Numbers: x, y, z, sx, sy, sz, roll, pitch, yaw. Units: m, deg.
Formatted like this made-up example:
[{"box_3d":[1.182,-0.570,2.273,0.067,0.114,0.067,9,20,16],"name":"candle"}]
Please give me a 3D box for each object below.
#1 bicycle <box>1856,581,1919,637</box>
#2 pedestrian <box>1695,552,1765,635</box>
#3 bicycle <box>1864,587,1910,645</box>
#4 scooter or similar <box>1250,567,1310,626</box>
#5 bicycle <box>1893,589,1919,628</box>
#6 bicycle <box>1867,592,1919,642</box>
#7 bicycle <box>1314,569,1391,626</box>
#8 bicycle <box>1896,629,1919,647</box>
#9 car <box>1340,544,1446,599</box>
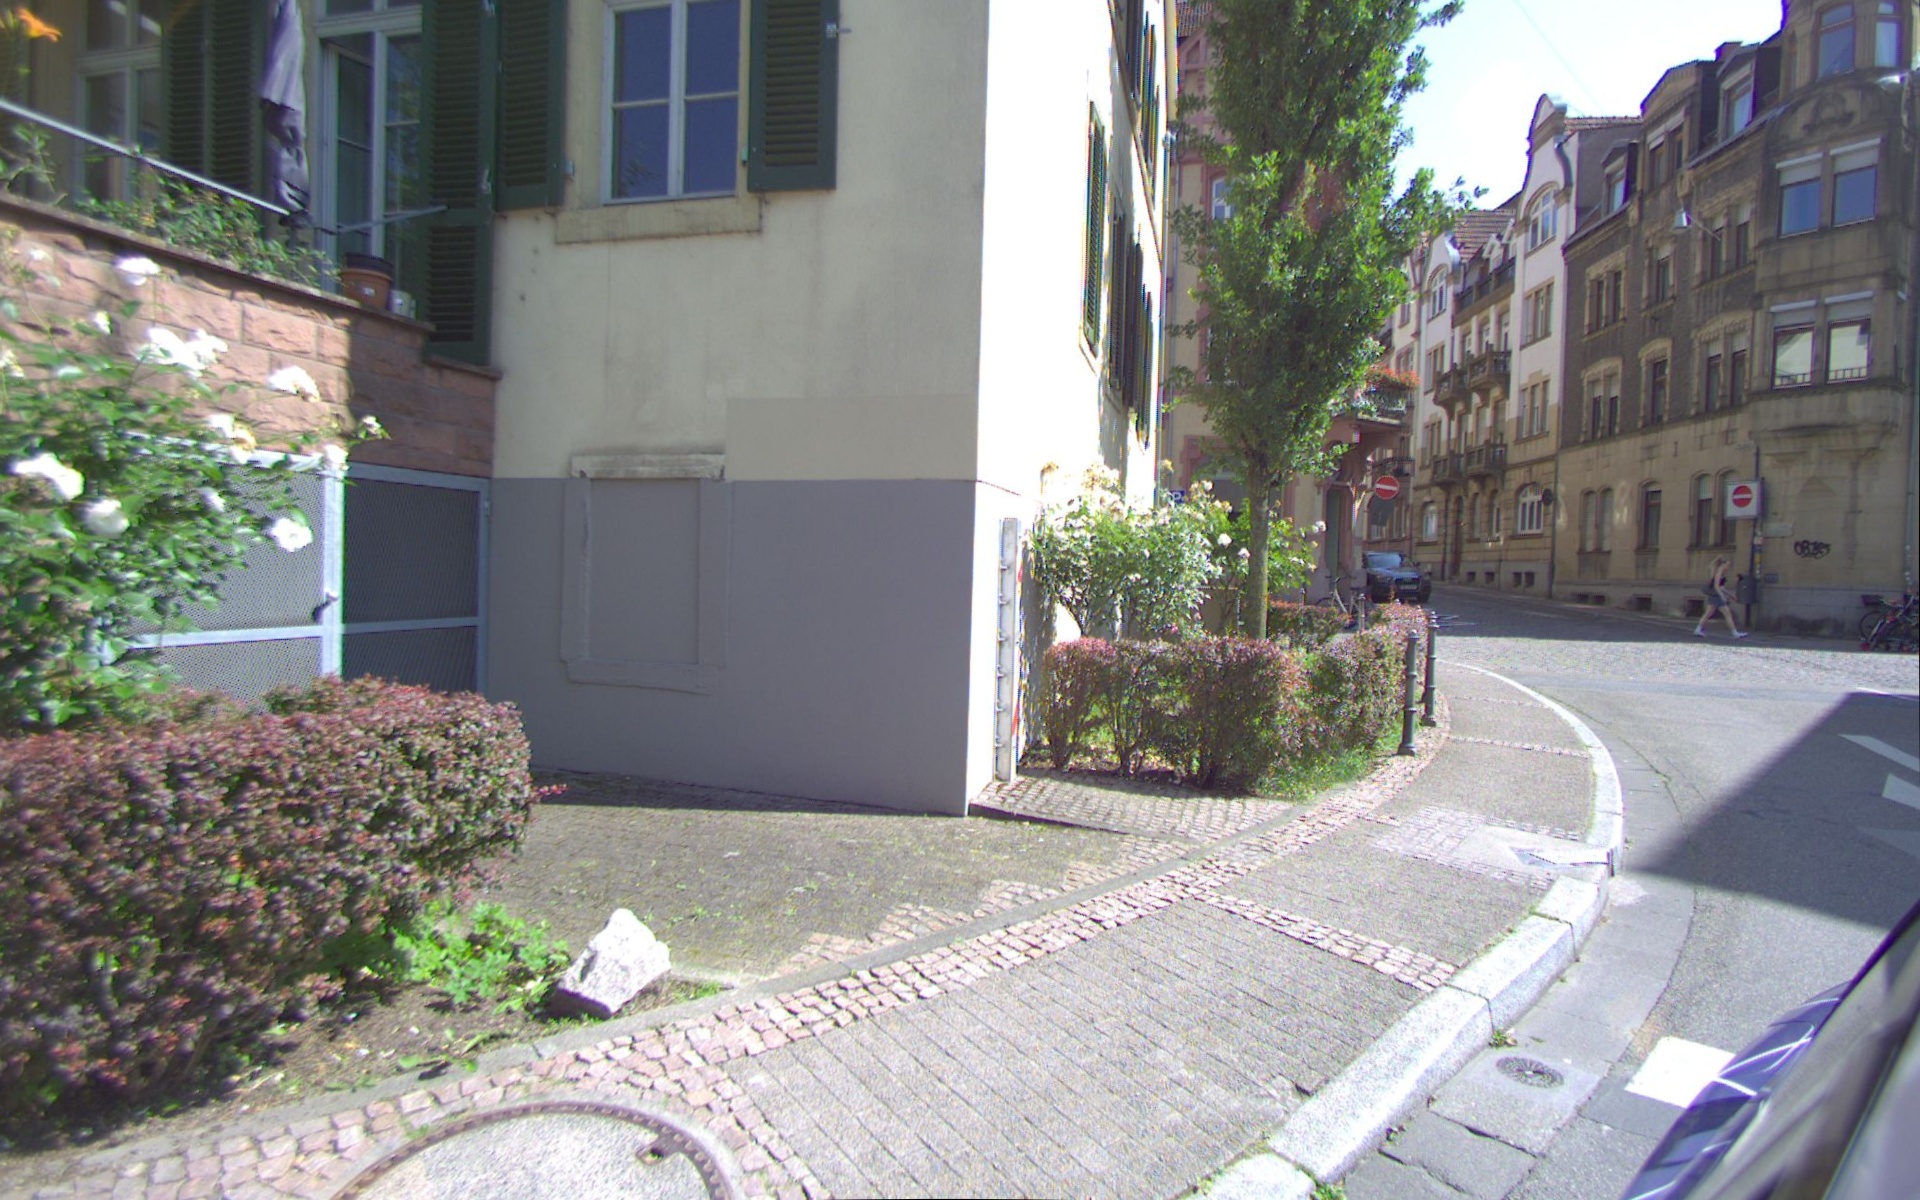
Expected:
[{"box_3d":[20.425,0.204,21.736,1.619,1.098,0.494,3,6,16],"name":"bicycle"},{"box_3d":[17.033,-0.155,22.406,0.966,1.778,0.621,1,5,15],"name":"pedestrian"},{"box_3d":[18.575,0.304,20.290,0.283,1.099,1.626,-1,1,29],"name":"bicycle"},{"box_3d":[7.107,-0.086,22.507,1.169,1.250,0.442,1,2,2],"name":"scooter or similar"},{"box_3d":[19.668,0.322,20.044,0.285,1.081,1.641,-42,-1,5],"name":"bicycle"},{"box_3d":[19.182,0.378,20.103,0.285,1.081,1.641,-42,-1,5],"name":"bicycle"},{"box_3d":[8.821,-0.078,22.804,0.495,1.160,1.798,1,3,-21],"name":"bicycle"},{"box_3d":[19.135,0.768,19.719,1.069,0.291,1.112,3,3,29],"name":"bicycle"},{"box_3d":[13.842,-0.968,32.644,1.829,1.601,4.258,0,4,4],"name":"car"}]
